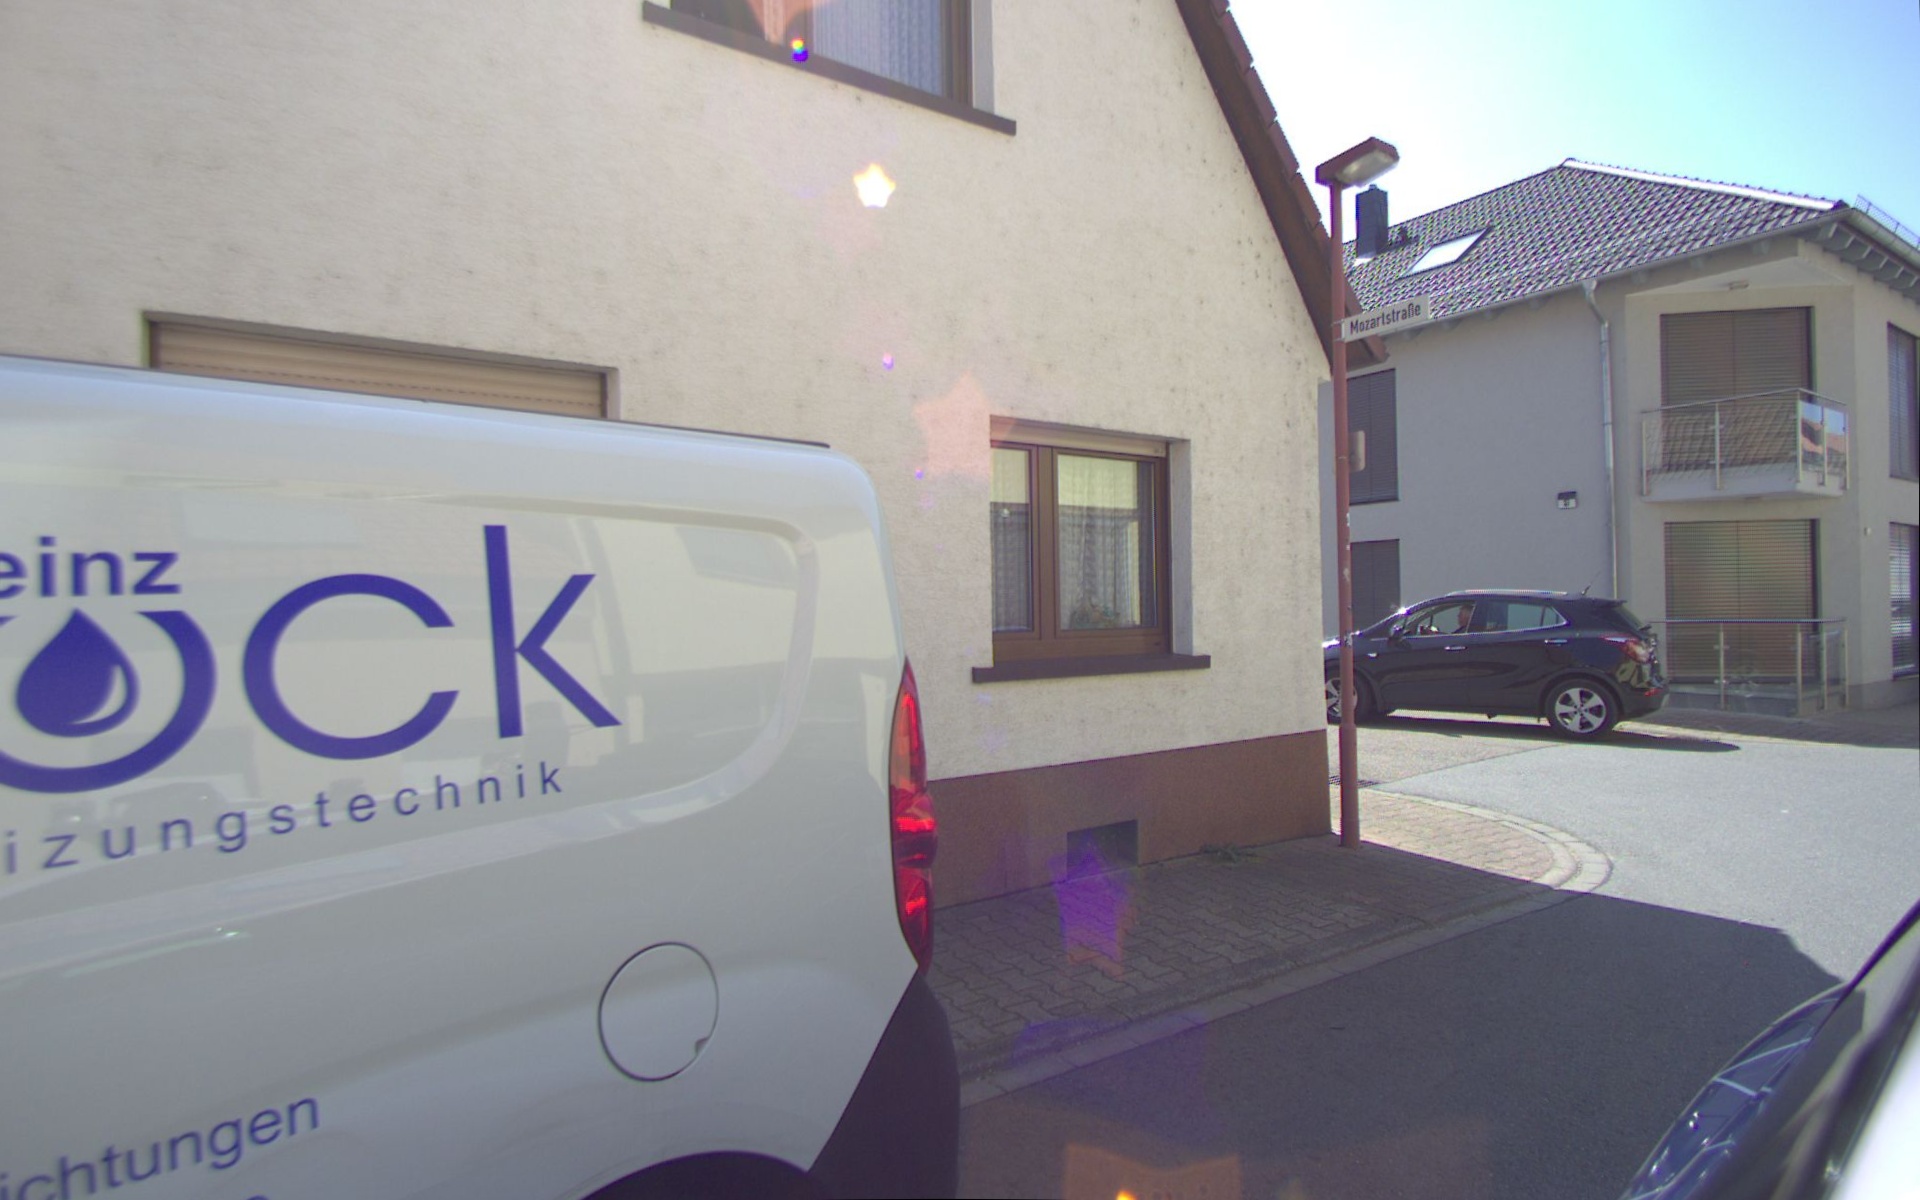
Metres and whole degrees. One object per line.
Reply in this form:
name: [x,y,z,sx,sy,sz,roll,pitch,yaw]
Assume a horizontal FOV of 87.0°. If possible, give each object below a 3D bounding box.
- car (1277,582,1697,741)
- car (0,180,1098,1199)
car: [6.220,0.632,12.202,4.258,1.603,1.737,0,-1,39]
car: [-2.218,0.566,1.118,4.760,1.848,1.814,-1,-2,-36]
